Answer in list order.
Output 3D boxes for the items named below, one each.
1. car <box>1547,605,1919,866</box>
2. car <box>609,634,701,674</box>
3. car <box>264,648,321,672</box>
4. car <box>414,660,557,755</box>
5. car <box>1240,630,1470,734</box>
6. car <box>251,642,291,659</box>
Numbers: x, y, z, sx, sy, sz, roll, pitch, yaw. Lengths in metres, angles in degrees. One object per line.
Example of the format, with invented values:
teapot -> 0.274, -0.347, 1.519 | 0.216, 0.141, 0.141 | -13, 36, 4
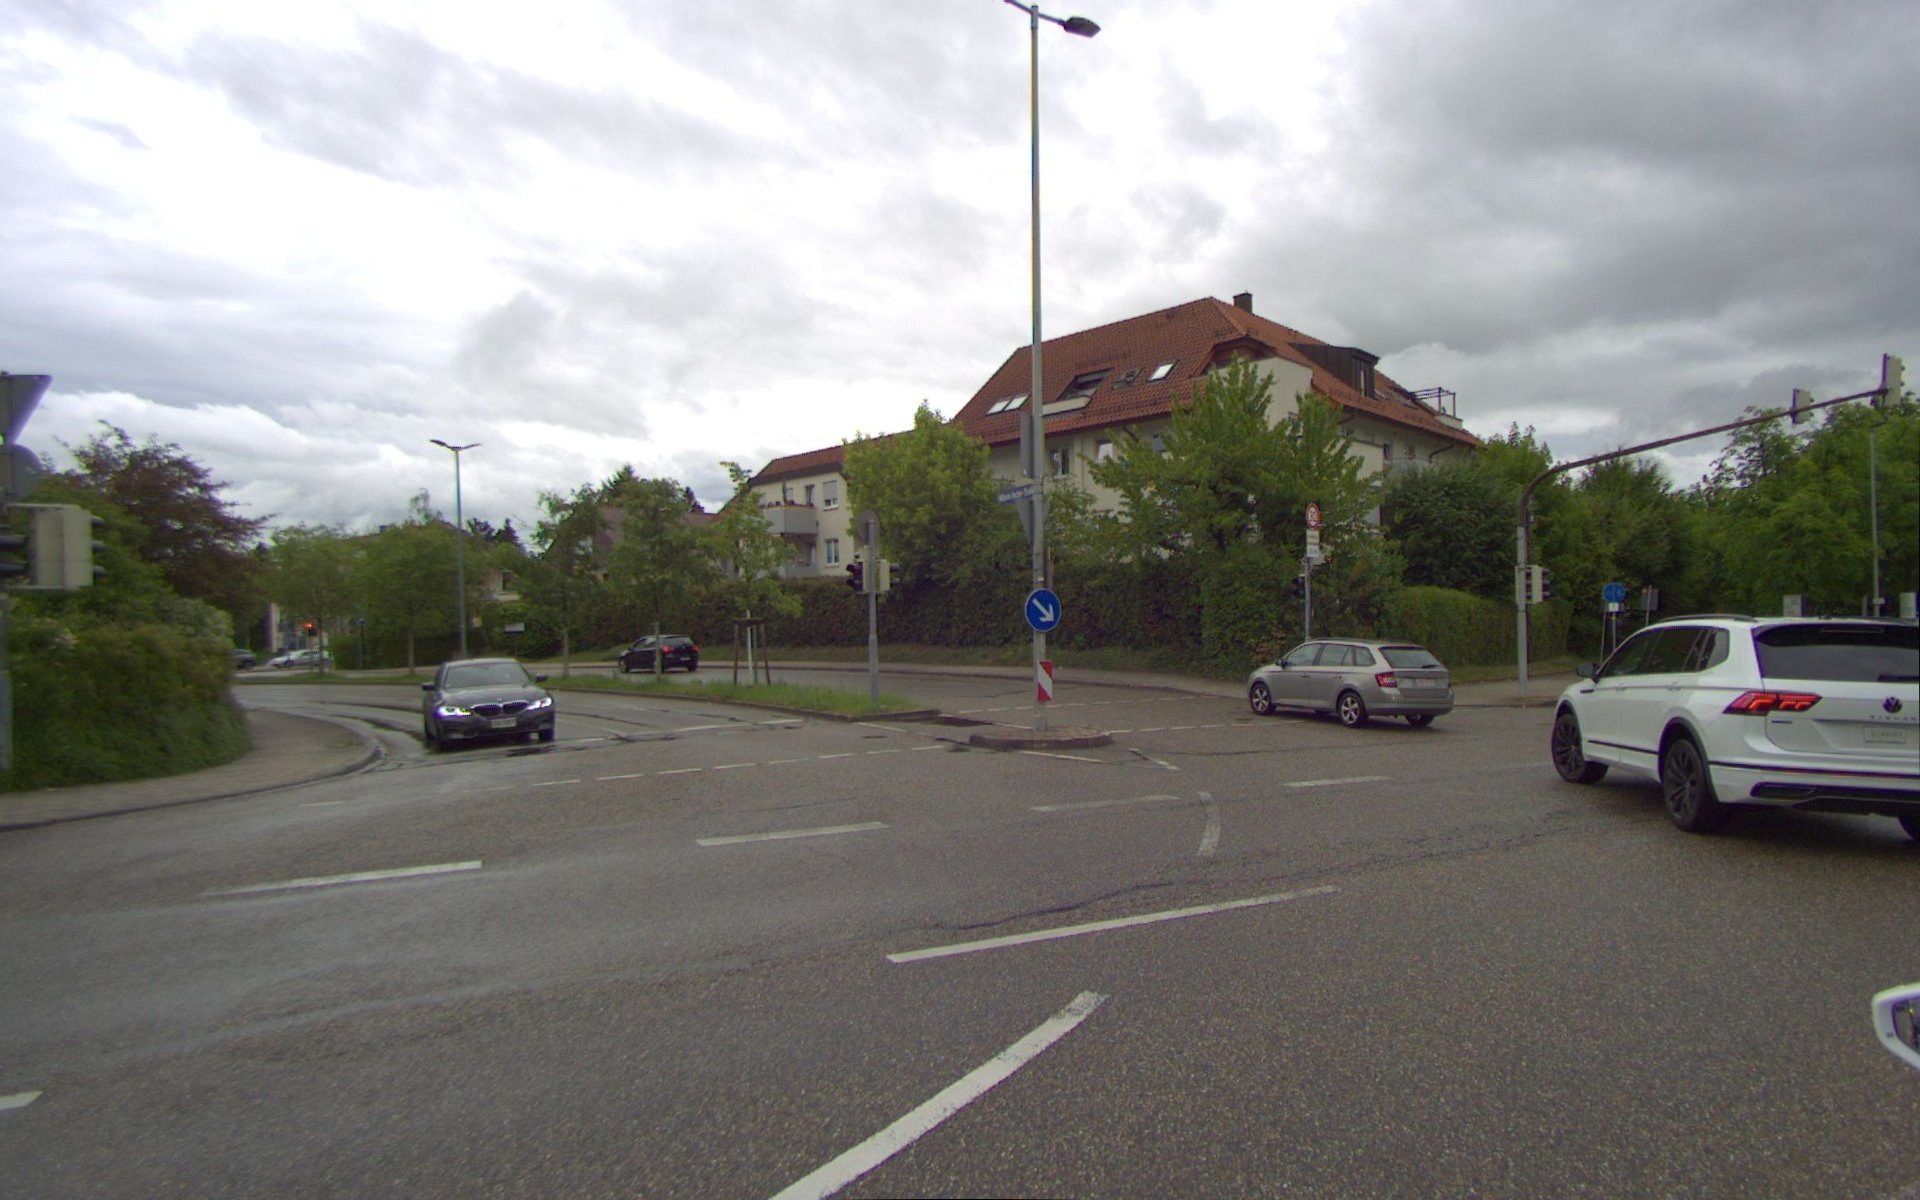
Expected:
car -> 6.707, 0.974, 8.743 | 1.733, 1.718, 4.275 | 0, -2, 16
car -> -12.331, 2.137, 40.503 | 3.941, 1.499, 1.757 | -1, -2, 41
car -> -53.366, 4.752, 80.324 | 3.652, 1.809, 1.711 | 2, -2, -41
car -> -8.514, 1.813, 17.814 | 1.757, 1.411, 4.396 | 0, -4, -33
car -> 6.908, 1.368, 18.030 | 1.776, 1.610, 3.910 | 1, -1, -19
car -> -80.180, 5.867, 116.981 | 3.654, 1.809, 1.729 | 2, -2, -42
